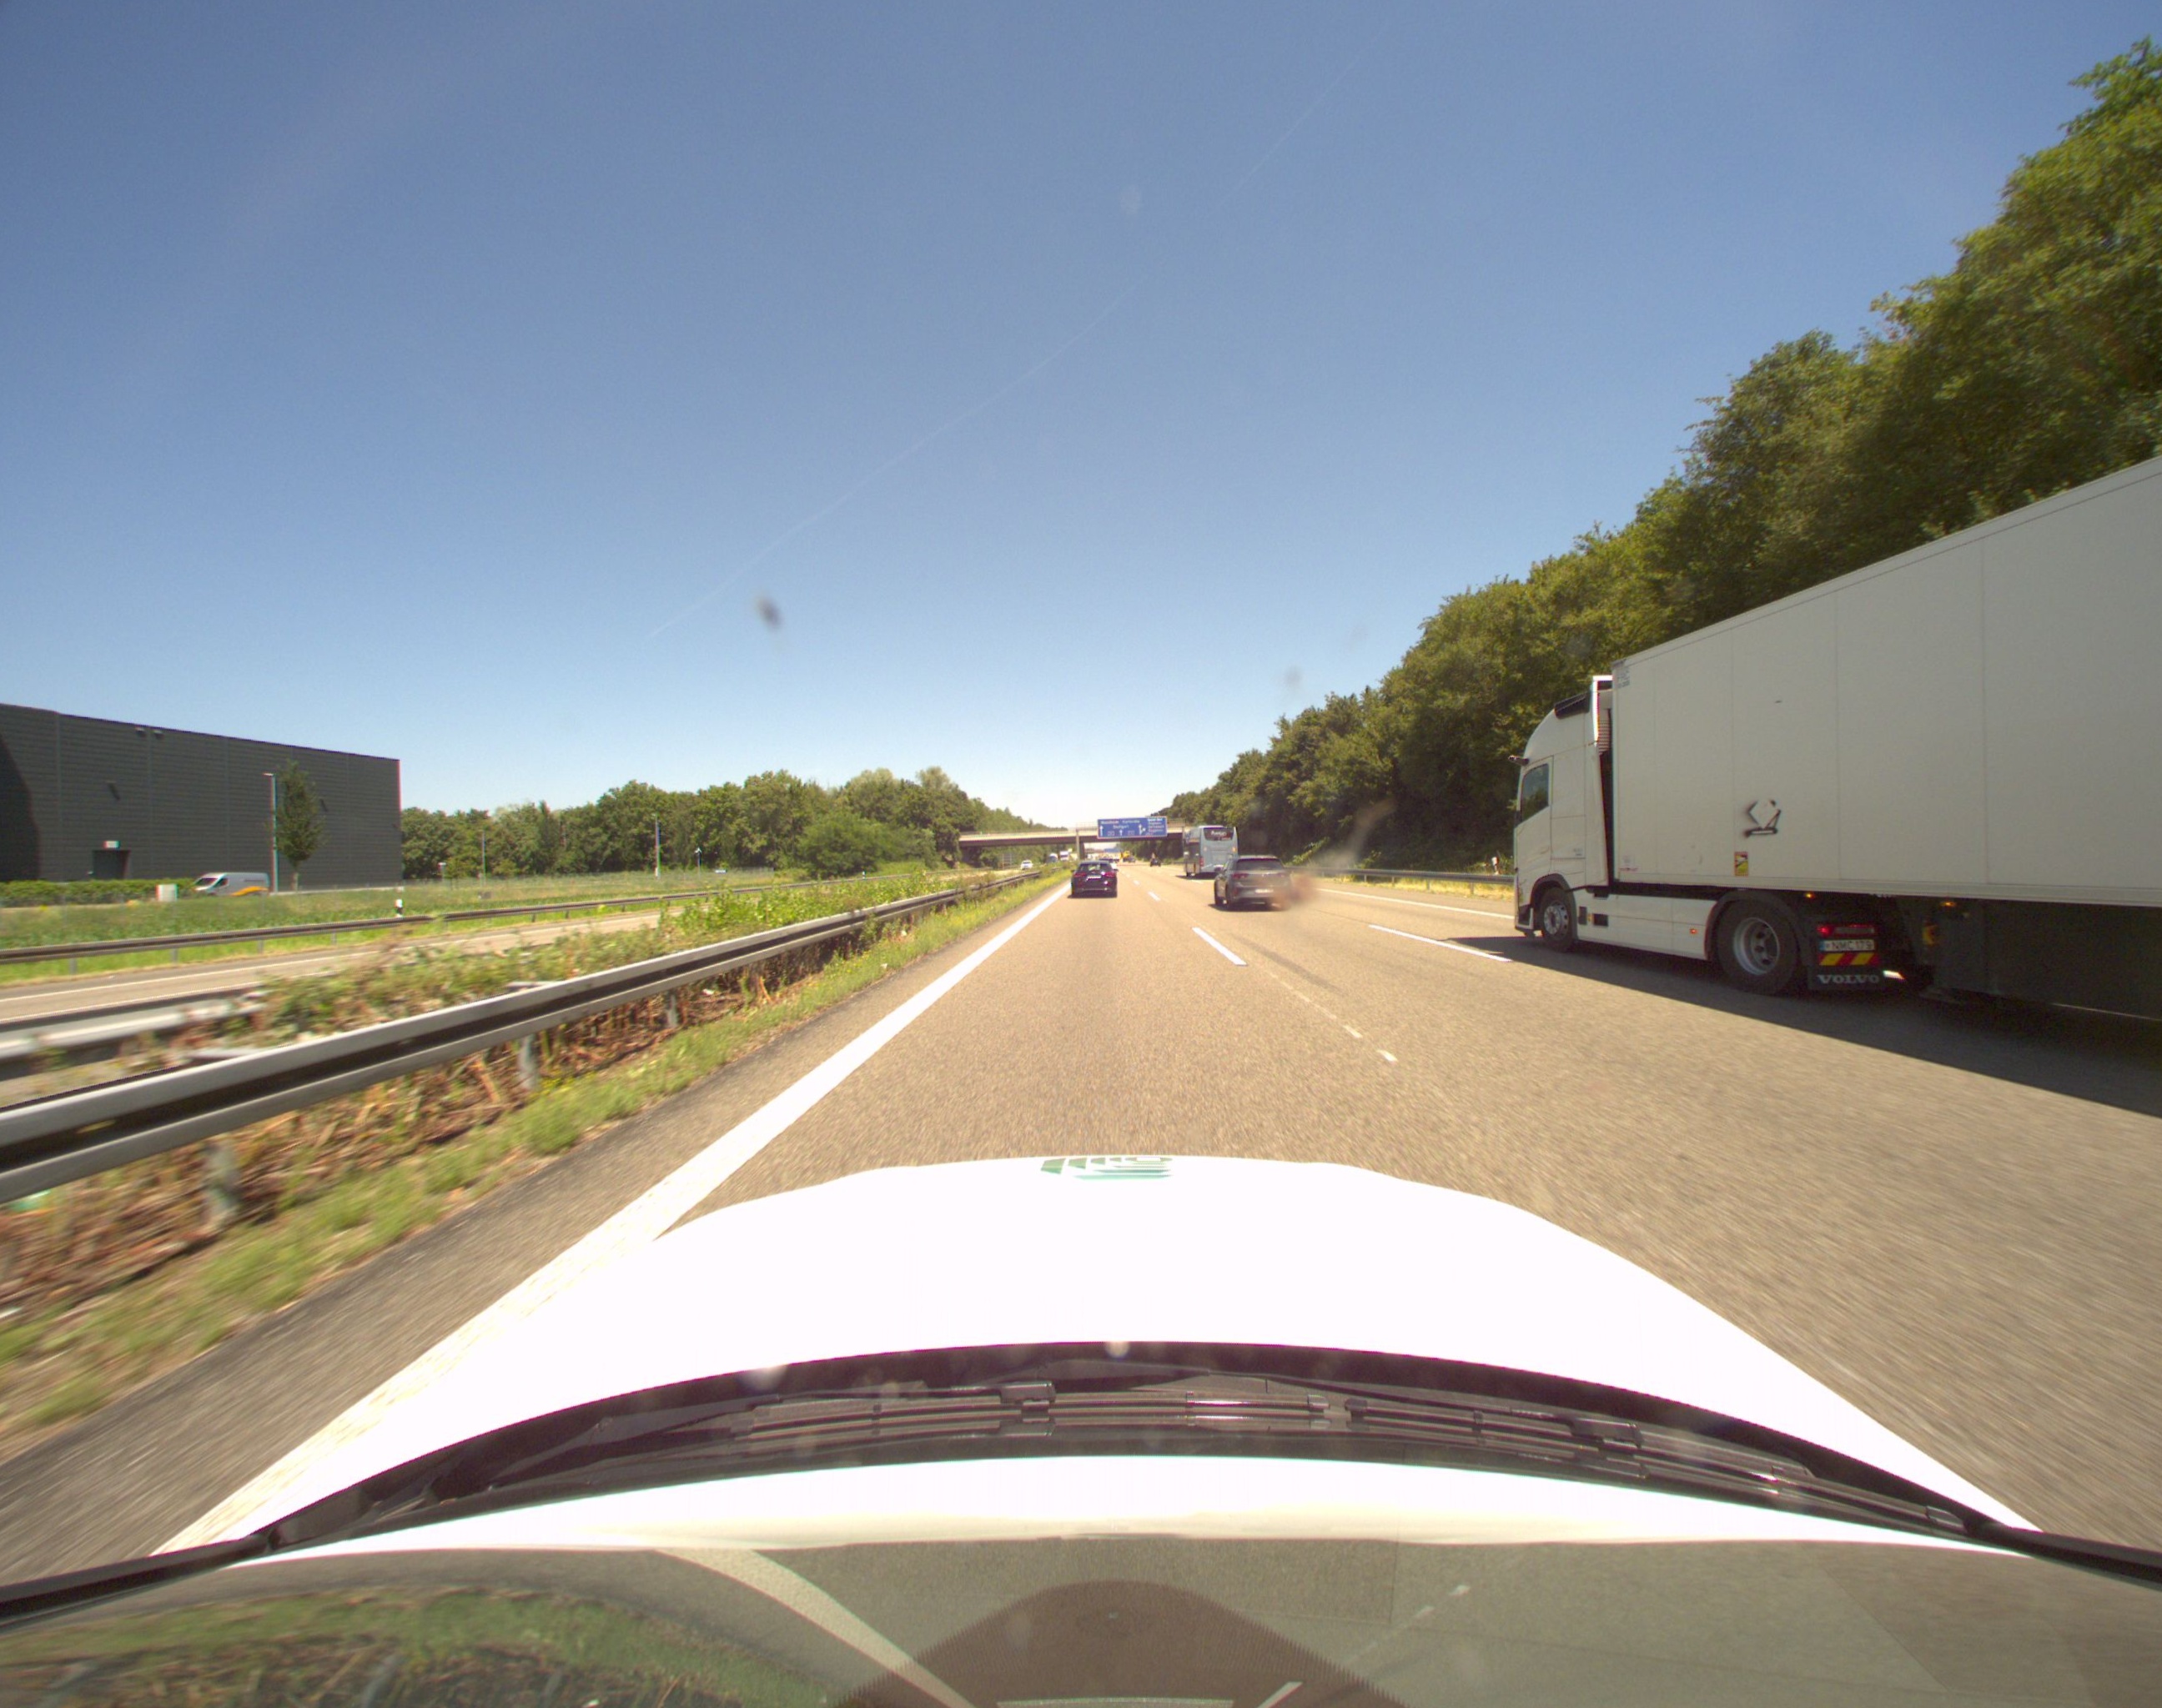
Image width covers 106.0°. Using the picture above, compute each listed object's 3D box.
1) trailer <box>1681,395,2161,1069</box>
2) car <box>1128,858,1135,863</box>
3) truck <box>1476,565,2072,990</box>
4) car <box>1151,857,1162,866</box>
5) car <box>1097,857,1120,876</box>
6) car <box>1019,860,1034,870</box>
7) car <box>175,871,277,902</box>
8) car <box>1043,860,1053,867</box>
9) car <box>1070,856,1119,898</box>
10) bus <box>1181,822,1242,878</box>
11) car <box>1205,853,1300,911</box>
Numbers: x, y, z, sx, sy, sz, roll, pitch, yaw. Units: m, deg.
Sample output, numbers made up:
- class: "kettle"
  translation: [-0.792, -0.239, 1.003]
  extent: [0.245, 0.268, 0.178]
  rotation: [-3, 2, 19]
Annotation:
- class: "trailer"
  translation: [8.254, -0.785, 2.314]
  extent: [3.029, 4.224, 13.836]
  rotation: [-1, 0, 1]
- class: "car"
  translation: [14.398, 1.880, 232.857]
  extent: [2.072, 1.532, 4.244]
  rotation: [-1, 0, 3]
- class: "truck"
  translation: [8.385, -0.763, 11.164]
  extent: [3.037, 4.215, 6.049]
  rotation: [-1, 0, 1]
- class: "car"
  translation: [12.591, 1.190, 135.978]
  extent: [1.782, 1.461, 3.952]
  rotation: [-1, 0, 3]
- class: "car"
  translation: [2.296, 1.043, 69.158]
  extent: [1.893, 1.532, 4.242]
  rotation: [-1, 0, 1]
- class: "car"
  translation: [-8.813, 1.748, 132.101]
  extent: [1.801, 1.483, 4.418]
  rotation: [-4, 0, 2]
- class: "car"
  translation: [-75.916, 2.806, 72.476]
  extent: [2.388, 2.456, 6.176]
  rotation: [-2, 0, 2]
- class: "car"
  translation: [-7.451, 2.216, 186.289]
  extent: [1.893, 1.532, 5.033]
  rotation: [-5, 0, 1]
- class: "car"
  translation: [0.536, 0.865, 32.506]
  extent: [1.793, 1.502, 4.242]
  rotation: [-1, 0, 1]
- class: "bus"
  translation: [9.240, -0.230, 59.013]
  extent: [2.791, 3.596, 12.479]
  rotation: [-1, 0, 2]
- class: "car"
  translation: [4.961, 0.748, 24.225]
  extent: [1.893, 1.532, 4.760]
  rotation: [-1, 0, 1]
